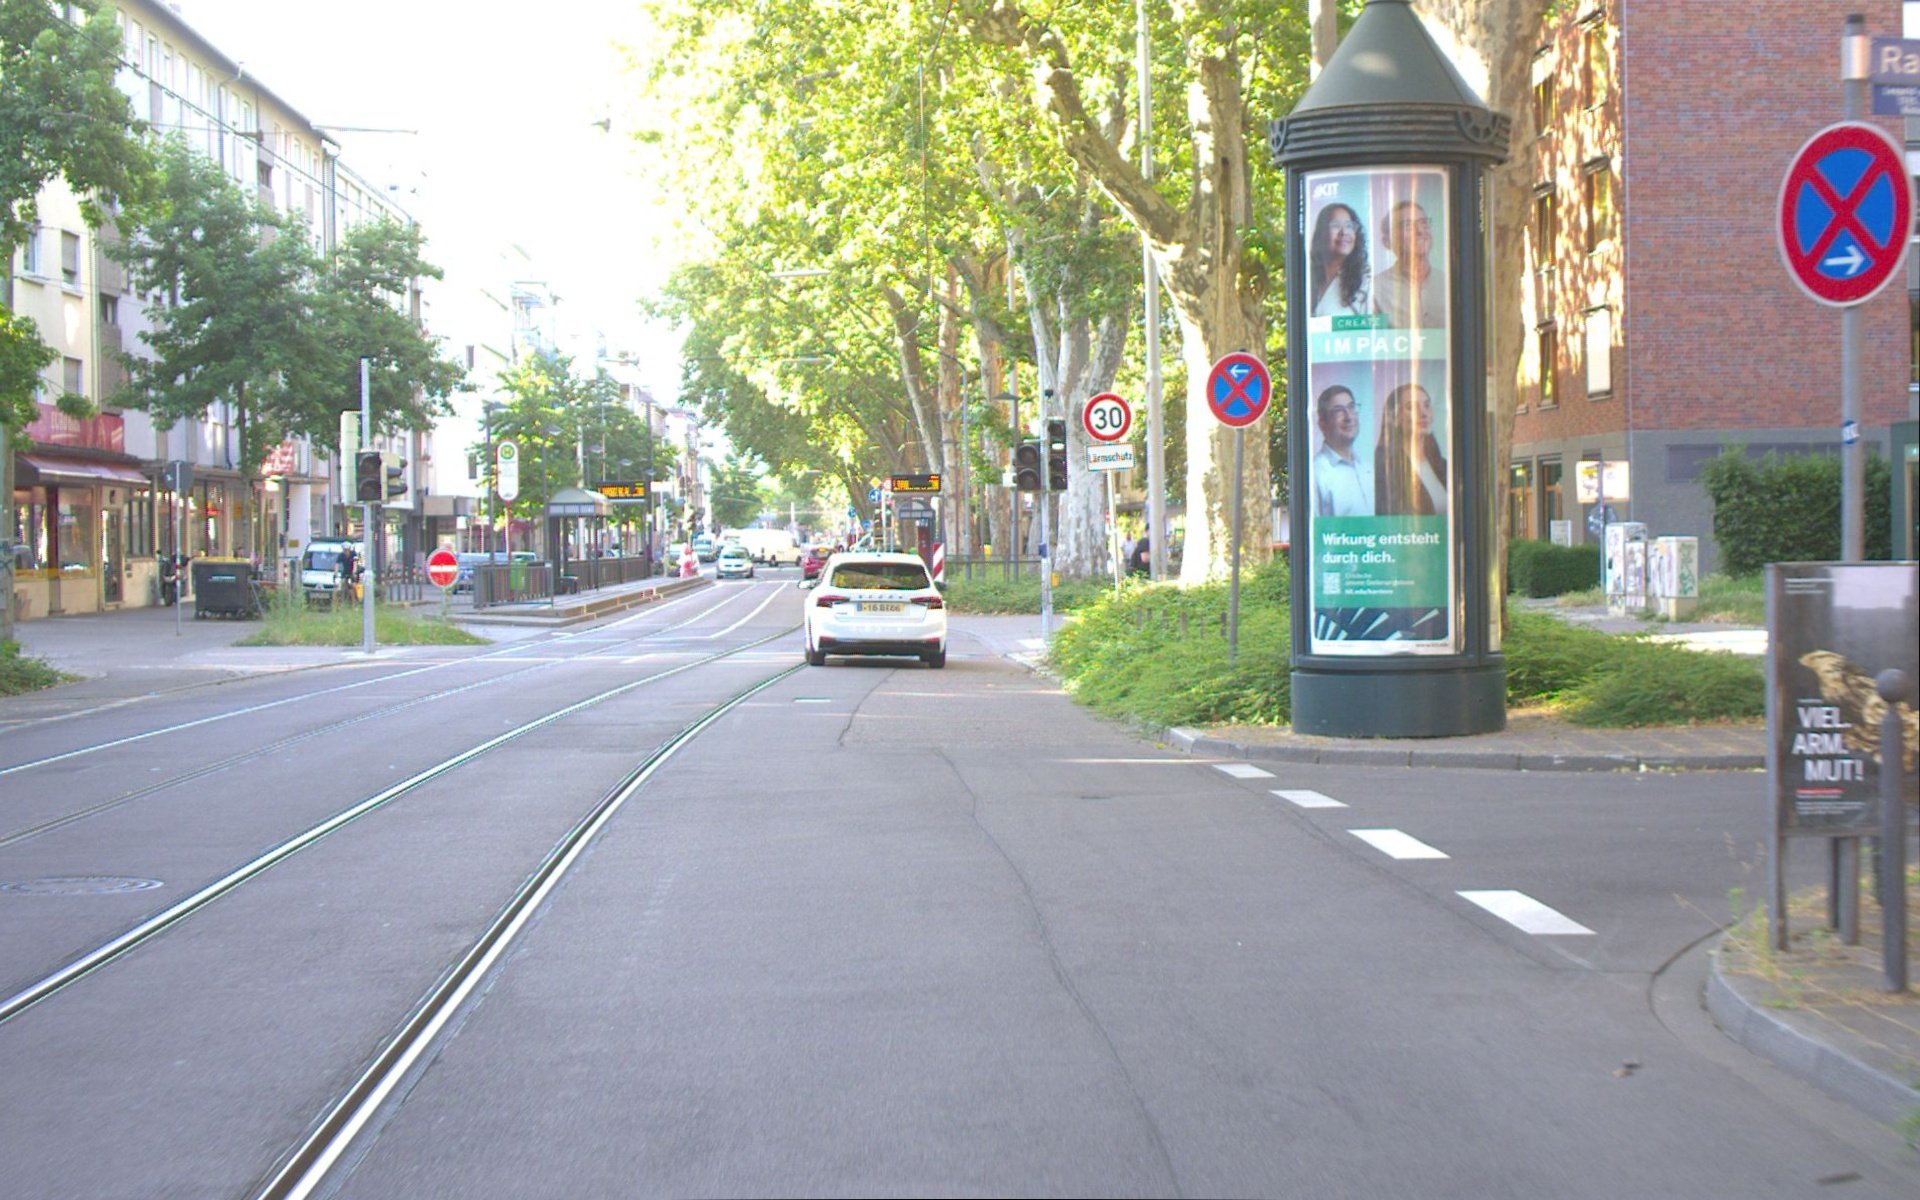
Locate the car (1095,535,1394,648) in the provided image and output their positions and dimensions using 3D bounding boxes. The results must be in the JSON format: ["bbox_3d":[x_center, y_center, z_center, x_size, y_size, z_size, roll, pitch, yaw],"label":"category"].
[{"bbox_3d":[3.784,-0.128,46.221,3.885,1.418,1.648,-1,1,1],"label":"car"}]

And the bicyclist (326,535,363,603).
[{"bbox_3d":[-13.351,-0.678,74.642,0.641,1.450,0.837,-2,1,-3],"label":"bicyclist"}]

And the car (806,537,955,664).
[{"bbox_3d":[-1.053,-0.033,44.016,1.788,1.508,4.001,-1,1,-2],"label":"car"}]

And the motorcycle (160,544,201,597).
[{"bbox_3d":[-19.476,-0.750,85.936,0.599,1.306,2.222,-1,1,-2],"label":"motorcycle"}]

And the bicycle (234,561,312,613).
[{"bbox_3d":[-15.172,-0.297,75.977,1.533,1.071,0.885,2,1,-3],"label":"bicycle"}]

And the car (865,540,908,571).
[{"bbox_3d":[-3.608,-2.179,168.739,1.993,1.448,4.001,-1,1,-2],"label":"car"}]

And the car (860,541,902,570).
[{"bbox_3d":[-4.001,-2.256,173.816,1.993,1.448,4.001,-1,1,-2],"label":"car"}]

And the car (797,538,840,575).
[{"bbox_3d":[-6.007,-1.860,146.083,1.788,1.508,4.001,-1,1,-2],"label":"car"}]

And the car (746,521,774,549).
[{"bbox_3d":[-13.896,-4.490,238.840,1.866,1.886,4.001,-1,1,-2],"label":"car"}]

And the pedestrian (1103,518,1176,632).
[{"bbox_3d":[2.892,-0.403,55.539,0.994,1.805,0.864,-1,1,-7],"label":"pedestrian"}]

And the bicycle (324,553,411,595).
[{"bbox_3d":[-16.319,-0.726,94.742,2.253,1.070,0.636,2,1,-1],"label":"bicycle"}]

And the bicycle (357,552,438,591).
[{"bbox_3d":[-16.688,-0.847,102.009,2.253,1.070,0.636,2,1,-1],"label":"bicycle"}]

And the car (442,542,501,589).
[{"bbox_3d":[-16.929,-1.215,119.210,1.593,1.543,4.001,1,1,-2],"label":"car"}]

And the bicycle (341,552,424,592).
[{"bbox_3d":[-16.536,-0.804,98.434,2.253,1.070,0.636,2,1,-1],"label":"bicycle"}]

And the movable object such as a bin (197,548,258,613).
[{"bbox_3d":[-15.739,-0.425,73.883,1.169,1.344,0.783,3,1,-6],"label":"movable object such as a bin"}]

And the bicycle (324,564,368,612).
[{"bbox_3d":[-13.328,-0.263,74.640,0.641,0.983,2.101,-2,1,-3],"label":"bicycle"}]

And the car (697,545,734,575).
[{"bbox_3d":[-12.162,-2.008,171.389,1.693,1.414,4.001,-1,1,-2],"label":"car"}]

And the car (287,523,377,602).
[{"bbox_3d":[-15.883,-0.969,87.087,1.688,1.933,4.001,-1,1,-2],"label":"car"}]

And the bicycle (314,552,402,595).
[{"bbox_3d":[-16.298,-0.712,93.094,2.253,1.070,0.636,2,1,-1],"label":"bicycle"}]
